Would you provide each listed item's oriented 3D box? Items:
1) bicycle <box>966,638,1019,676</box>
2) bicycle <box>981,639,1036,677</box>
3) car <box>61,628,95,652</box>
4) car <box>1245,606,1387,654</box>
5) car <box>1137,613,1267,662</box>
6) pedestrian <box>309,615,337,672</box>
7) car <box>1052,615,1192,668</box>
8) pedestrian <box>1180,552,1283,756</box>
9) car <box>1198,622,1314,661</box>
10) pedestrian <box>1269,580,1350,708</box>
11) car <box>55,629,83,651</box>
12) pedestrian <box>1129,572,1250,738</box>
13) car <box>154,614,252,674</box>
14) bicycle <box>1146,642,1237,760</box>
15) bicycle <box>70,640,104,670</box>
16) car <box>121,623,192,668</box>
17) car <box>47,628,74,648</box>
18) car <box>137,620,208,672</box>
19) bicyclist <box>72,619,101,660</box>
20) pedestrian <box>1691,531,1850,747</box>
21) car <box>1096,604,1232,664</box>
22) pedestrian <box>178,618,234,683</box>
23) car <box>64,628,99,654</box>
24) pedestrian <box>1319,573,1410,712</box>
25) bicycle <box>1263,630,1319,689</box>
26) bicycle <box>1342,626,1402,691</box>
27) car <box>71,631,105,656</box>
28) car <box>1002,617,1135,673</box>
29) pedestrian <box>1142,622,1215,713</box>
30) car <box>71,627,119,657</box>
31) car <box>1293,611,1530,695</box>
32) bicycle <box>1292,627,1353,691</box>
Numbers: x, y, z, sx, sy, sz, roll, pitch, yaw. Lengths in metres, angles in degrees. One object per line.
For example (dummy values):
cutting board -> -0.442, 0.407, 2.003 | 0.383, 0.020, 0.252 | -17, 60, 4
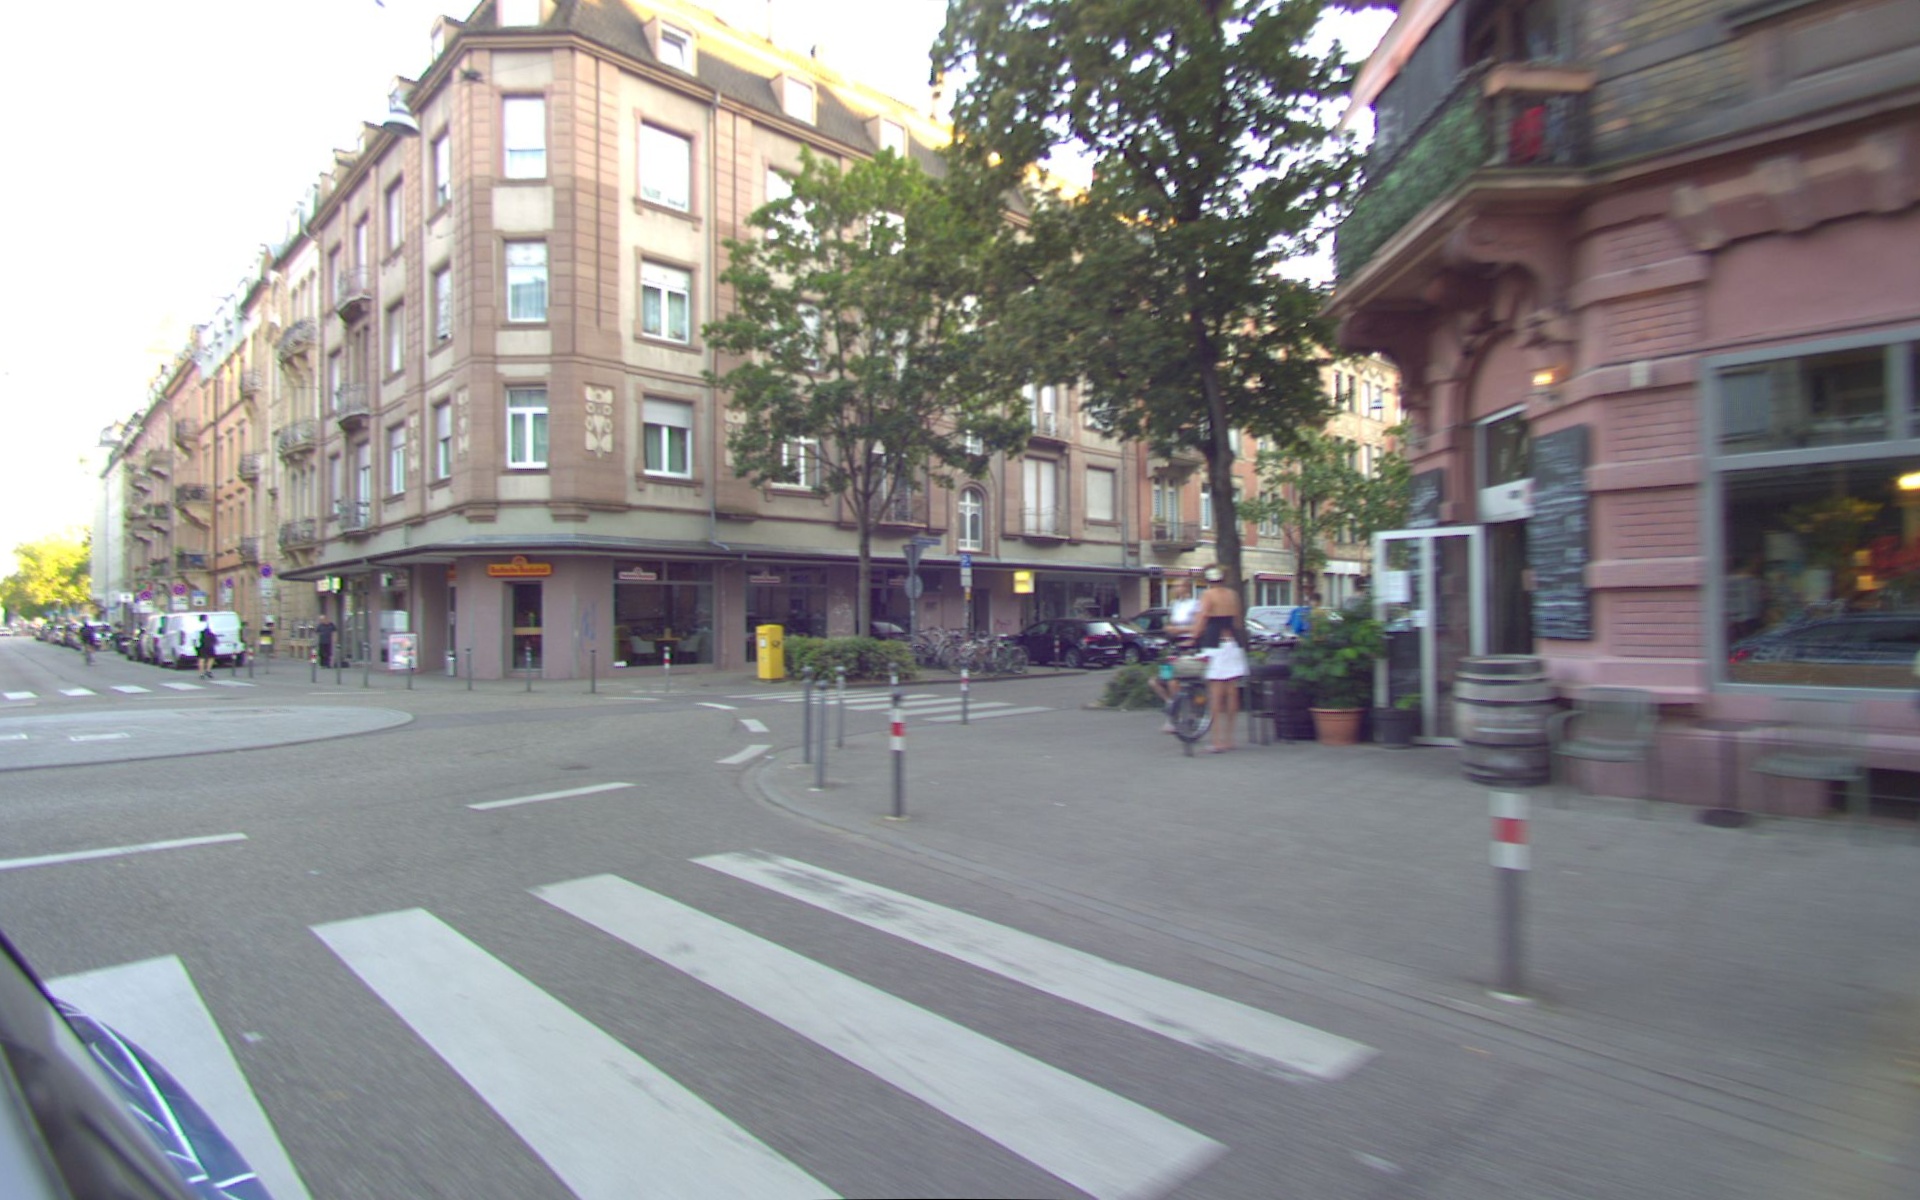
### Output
bicycle -> 0.861, 1.478, 26.500 | 1.466, 0.902, 0.478 | 0, 0, -40
bicycle -> 1.247, 1.483, 25.982 | 1.466, 0.902, 0.478 | 0, 0, -40
car -> -69.144, 3.108, 79.372 | 1.969, 1.752, 4.006 | 0, 0, -41
car -> 14.477, 1.190, 41.389 | 2.085, 1.844, 5.116 | 2, -1, -41
car -> 8.319, 1.254, 35.039 | 1.880, 1.586, 4.003 | 2, -1, -44
pedestrian -> -20.237, 1.380, 32.165 | 0.644, 1.792, 0.694 | -1, -2, -26
car -> 4.995, 1.250, 31.568 | 4.001, 1.522, 1.825 | 0, -1, 44
pedestrian -> 2.645, 0.518, 9.967 | 0.716, 1.869, 1.020 | -3, -2, 6
car -> 10.947, 1.498, 37.618 | 1.695, 1.322, 3.814 | 2, -1, -44
pedestrian -> 5.109, 0.636, 14.785 | 0.758, 1.805, 0.776 | -5, -4, 43
car -> -79.530, 3.536, 90.337 | 1.841, 1.752, 3.805 | 0, 0, -41
pedestrian -> 2.675, 0.623, 11.831 | 1.031, 1.825, 0.758 | -2, -3, -26
car -> -27.205, 1.533, 36.328 | 4.771, 1.973, 2.112 | -2, -1, 44
bicycle -> 2.276, 0.959, 10.140 | 0.605, 1.033, 1.772 | -3, -2, 5
bicycle -> -35.642, 2.240, 41.298 | 1.974, 1.139, 0.745 | -3, -2, 40
car -> -35.755, 1.970, 44.990 | 2.110, 1.835, 4.544 | 0, -1, -43
car -> -83.743, 3.526, 94.255 | 1.880, 1.752, 3.855 | 0, 0, -41
car -> -31.626, 1.798, 40.588 | 1.852, 1.918, 4.330 | 0, -1, -43
bicyclist -> -35.660, 1.613, 41.313 | 1.200, 1.653, 0.745 | -3, -2, 40
pedestrian -> 6.841, 0.319, 8.575 | 0.648, 1.709, 0.665 | -5, -1, -1
car -> 6.707, 1.090, 33.499 | 1.970, 1.852, 4.003 | 2, -1, -44
pedestrian -> -21.040, 1.382, 28.266 | 0.737, 1.757, 1.215 | -1, 0, -7
car -> -65.703, 3.021, 75.713 | 1.969, 1.752, 4.006 | 0, 0, -41
pedestrian -> 5.578, 0.583, 13.965 | 0.875, 1.842, 0.759 | -1, -3, -43
bicycle -> 6.985, 1.230, 21.280 | 0.584, 1.166, 1.787 | -3, -3, 35
bicycle -> 8.310, 1.158, 20.391 | 0.686, 1.228, 1.790 | -3, -2, 35
car -> -62.762, 3.115, 72.862 | 1.813, 1.654, 3.931 | 0, 0, -41
car -> 3.150, 1.283, 29.809 | 1.696, 1.488, 3.690 | 2, -1, -44
pedestrian -> 3.310, 1.019, 15.318 | 0.735, 1.315, 0.782 | -5, -5, 41
car -> -55.728, 2.661, 65.186 | 2.111, 1.835, 4.544 | 0, -1, -44
car -> 9.992, 1.089, 22.644 | 1.862, 1.637, 4.476 | 0, 0, -45
bicycle -> 7.508, 1.196, 20.904 | 0.686, 1.212, 1.790 | -3, -2, 35
